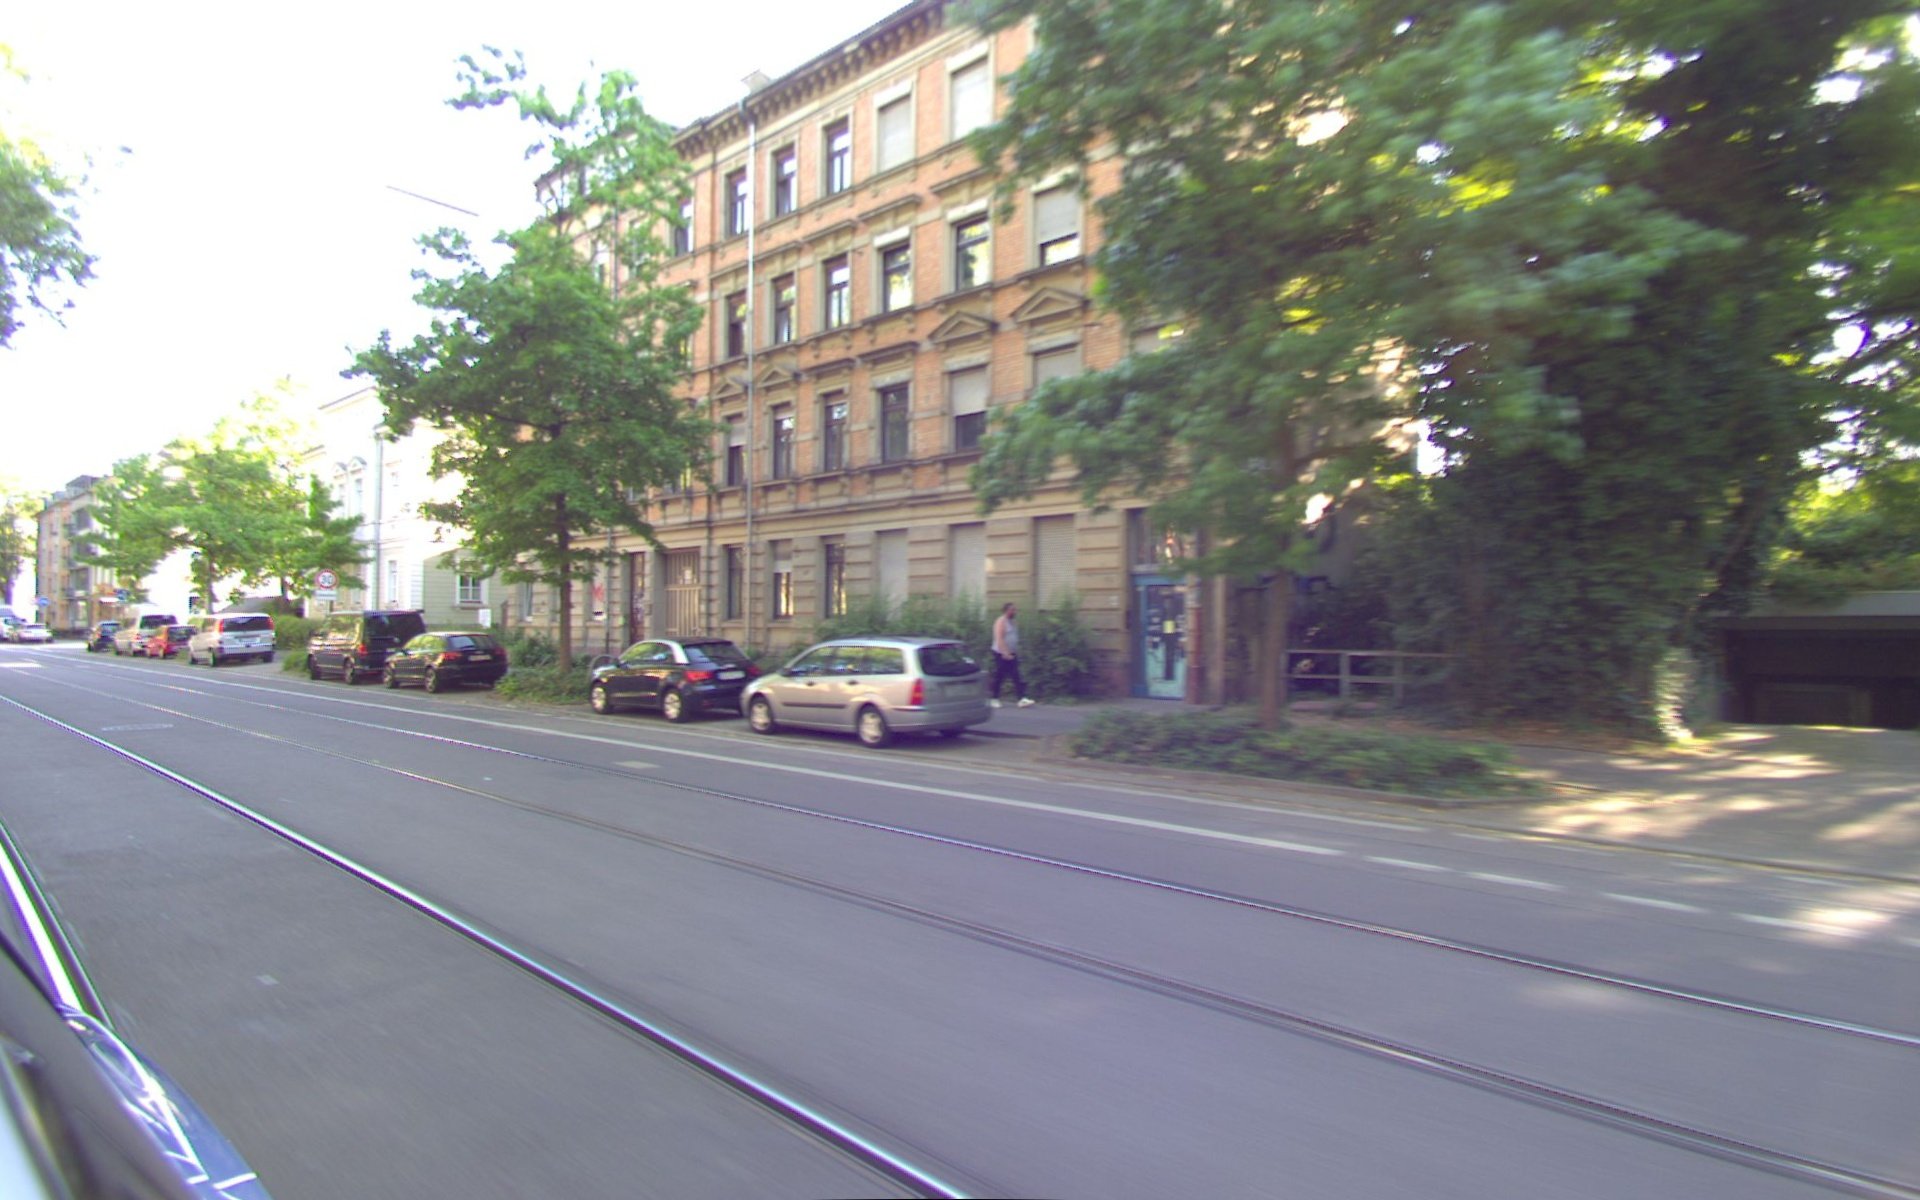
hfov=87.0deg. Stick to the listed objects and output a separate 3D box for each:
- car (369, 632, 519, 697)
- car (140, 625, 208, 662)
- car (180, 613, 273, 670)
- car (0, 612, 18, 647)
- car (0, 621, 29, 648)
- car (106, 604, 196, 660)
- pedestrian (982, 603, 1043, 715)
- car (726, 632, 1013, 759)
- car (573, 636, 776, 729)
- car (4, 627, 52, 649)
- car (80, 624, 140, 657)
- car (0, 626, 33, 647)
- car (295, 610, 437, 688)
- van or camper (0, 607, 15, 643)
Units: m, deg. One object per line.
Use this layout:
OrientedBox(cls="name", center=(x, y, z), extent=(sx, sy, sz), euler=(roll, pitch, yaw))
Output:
OrientedBox(cls="car", center=(-13.005, 1.564, 25.422), extent=(4.267, 1.469, 1.834), euler=(-1, -3, 40))
OrientedBox(cls="car", center=(-34.880, 1.900, 44.880), extent=(3.705, 1.551, 1.667), euler=(-1, -3, 41))
OrientedBox(cls="car", center=(-27.657, 1.538, 38.114), extent=(4.987, 2.004, 1.824), euler=(-1, -3, 42))
OrientedBox(cls="car", center=(-78.817, 2.427, 82.889), extent=(4.545, 2.767, 1.903), euler=(-1, 1, 42))
OrientedBox(cls="car", center=(-74.347, 2.670, 78.948), extent=(4.938, 2.062, 1.903), euler=(-1, -2, 40))
OrientedBox(cls="car", center=(-38.633, 1.505, 48.280), extent=(5.339, 2.527, 2.280), euler=(-1, -3, 40))
OrientedBox(cls="pedestrian", center=(0.905, 0.993, 17.430), extent=(0.728, 1.861, 0.734), euler=(-1, -1, 40))
OrientedBox(cls="car", center=(-1.470, 1.272, 14.895), extent=(4.537, 1.562, 1.680), euler=(-2, -2, 45))
OrientedBox(cls="car", center=(-5.202, 1.389, 18.208), extent=(3.947, 1.456, 1.641), euler=(-1, -2, 41))
OrientedBox(cls="car", center=(-66.324, 2.649, 71.997), extent=(4.935, 1.504, 1.754), euler=(-1, -2, 39))
OrientedBox(cls="car", center=(-45.615, 2.140, 54.291), extent=(4.262, 1.703, 1.970), euler=(-2, -3, 44))
OrientedBox(cls="car", center=(-69.980, 2.715, 75.058), extent=(2.882, 1.504, 1.554), euler=(-1, -2, 42))
OrientedBox(cls="car", center=(-16.952, 1.350, 28.801), extent=(4.831, 2.029, 1.973), euler=(-1, -3, 40))
OrientedBox(cls="van or camper", center=(-83.689, 2.209, 87.425), extent=(5.990, 2.999, 2.391), euler=(-1, 1, 42))
